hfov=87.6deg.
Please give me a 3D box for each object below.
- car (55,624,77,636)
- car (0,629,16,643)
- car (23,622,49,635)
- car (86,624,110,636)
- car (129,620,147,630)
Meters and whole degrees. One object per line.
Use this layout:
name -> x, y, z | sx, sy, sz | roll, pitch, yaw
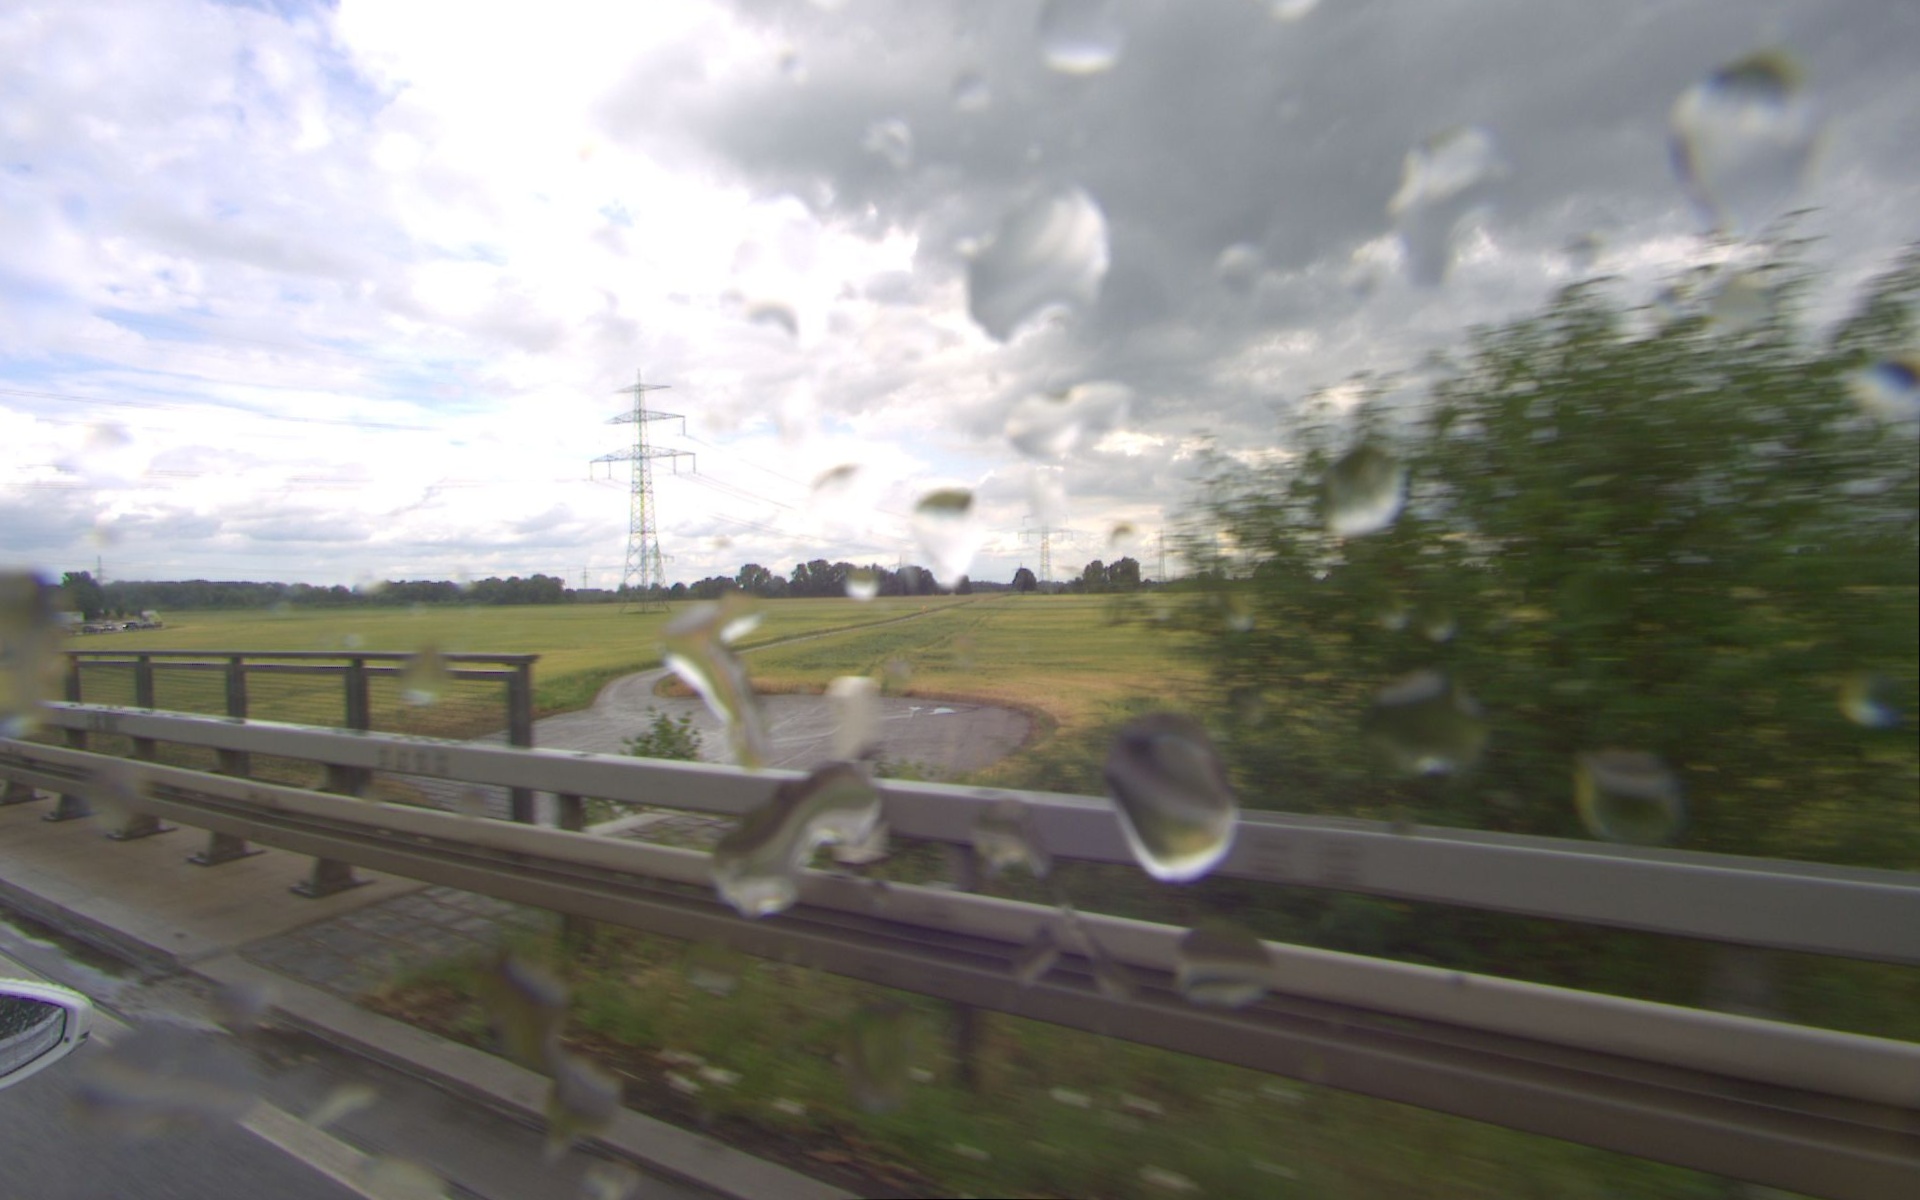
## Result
car -> -151.600, 5.078, 169.862 | 1.972, 2.039, 3.980 | 0, -2, -31
car -> -142.404, 5.334, 148.959 | 1.971, 2.039, 3.982 | 0, -2, -30
car -> -148.752, 4.590, 161.247 | 2.202, 2.039, 3.980 | 0, -2, -31
car -> -155.514, 5.397, 180.690 | 1.967, 2.039, 3.991 | 0, -2, -21
car -> -164.640, 5.052, 200.558 | 1.738, 2.040, 3.989 | 0, -1, -22
